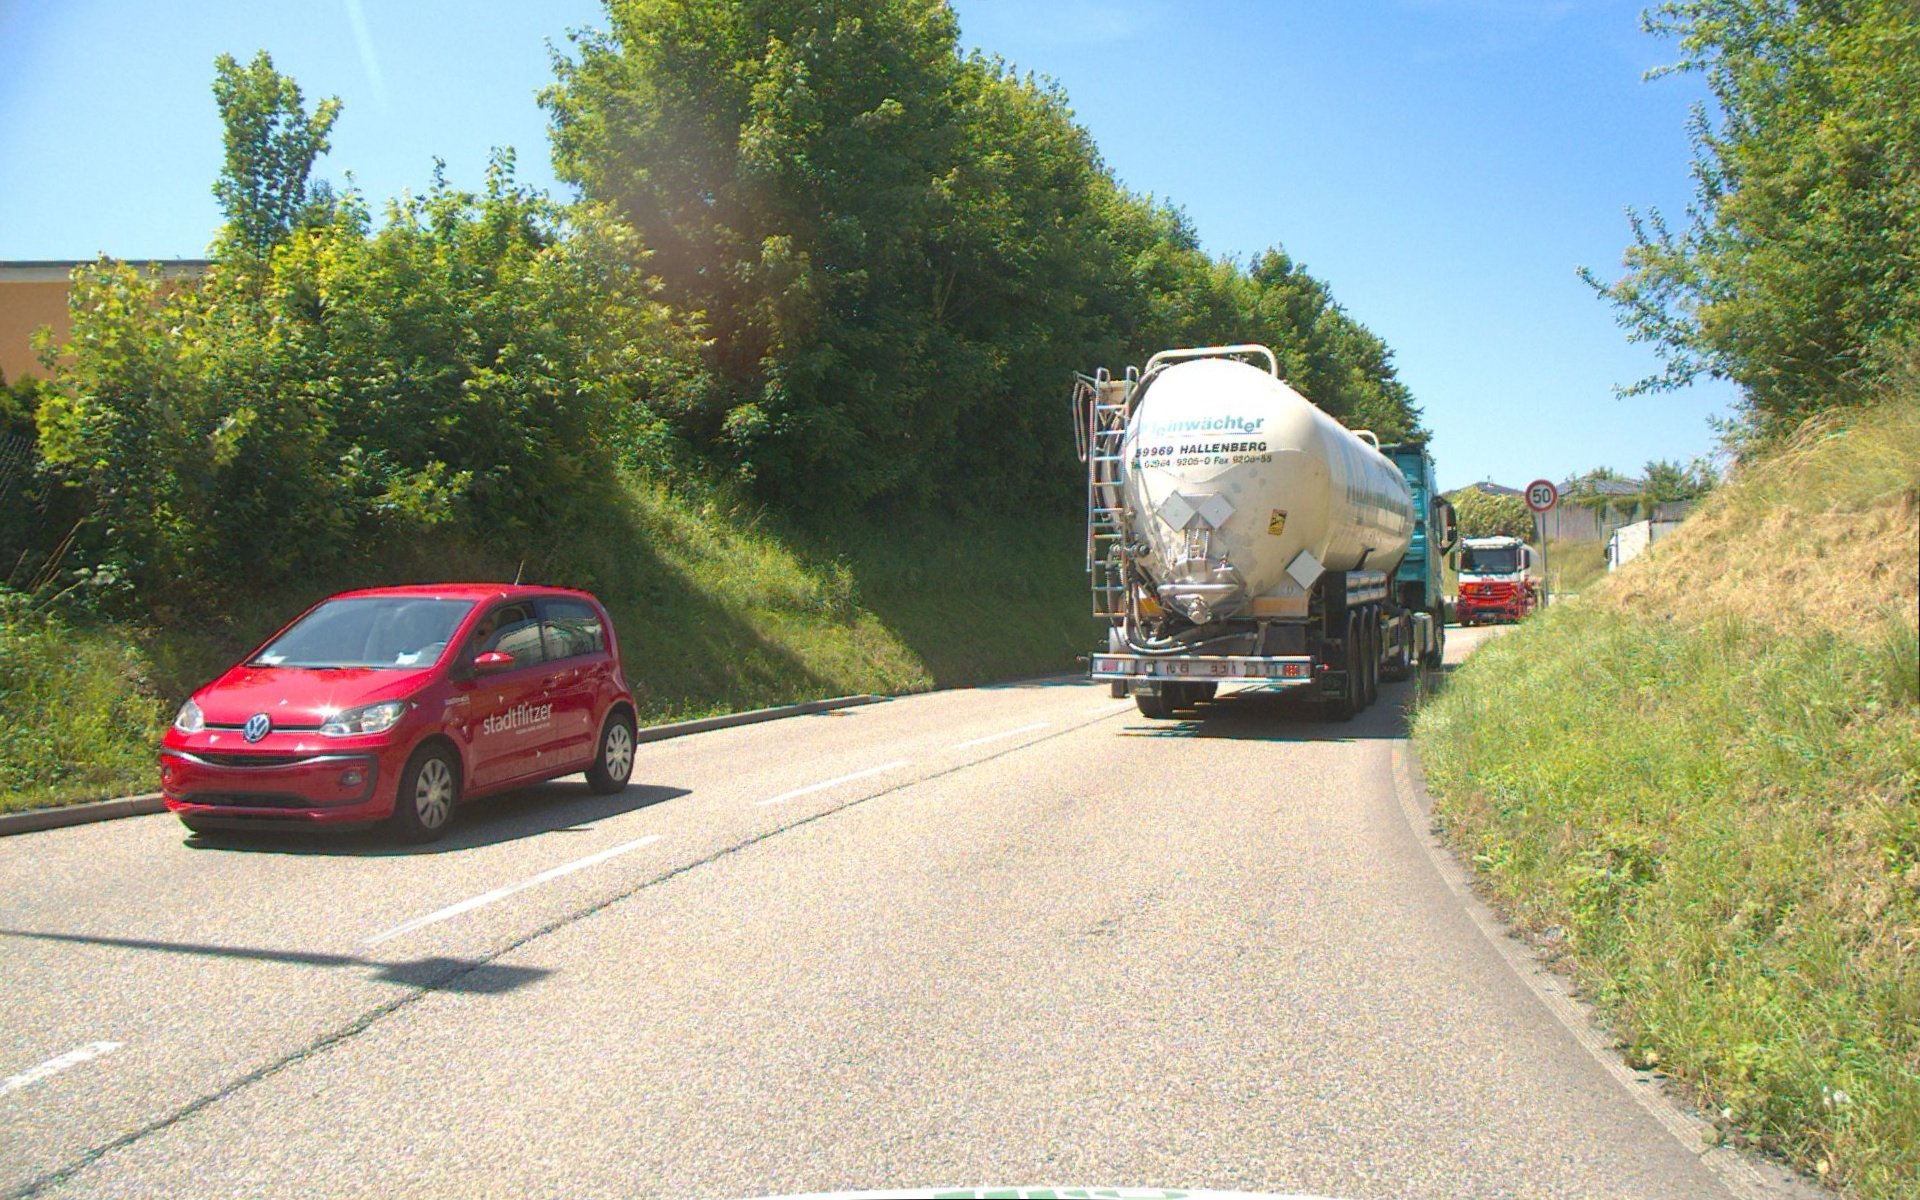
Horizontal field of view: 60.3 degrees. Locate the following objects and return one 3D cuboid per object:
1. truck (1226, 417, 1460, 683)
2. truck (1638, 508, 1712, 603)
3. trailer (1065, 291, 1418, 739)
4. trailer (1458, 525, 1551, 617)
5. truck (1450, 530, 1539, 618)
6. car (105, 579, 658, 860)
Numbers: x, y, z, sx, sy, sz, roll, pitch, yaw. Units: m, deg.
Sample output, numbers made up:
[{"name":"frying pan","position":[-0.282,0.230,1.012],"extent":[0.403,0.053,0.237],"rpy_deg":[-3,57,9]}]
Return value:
[{"name":"truck","position":[6.846,-0.741,28.695],"extent":[2.672,3.998,7.260],"rpy_deg":[-1,0,23]},{"name":"truck","position":[35.631,-2.174,82.737],"extent":[3.125,4.384,11.799],"rpy_deg":[-1,1,22]},{"name":"trailer","position":[4.267,-0.880,21.786],"extent":[2.606,4.262,11.908],"rpy_deg":[0,1,19]},{"name":"trailer","position":[22.797,-1.123,68.878],"extent":[2.580,3.432,11.138],"rpy_deg":[-2,-1,24]},{"name":"truck","position":[21.063,-0.997,64.901],"extent":[2.573,3.226,7.065],"rpy_deg":[-1,0,24]},{"name":"car","position":[-3.488,0.627,10.717],"extent":[1.620,1.484,3.639],"rpy_deg":[0,0,15]}]
